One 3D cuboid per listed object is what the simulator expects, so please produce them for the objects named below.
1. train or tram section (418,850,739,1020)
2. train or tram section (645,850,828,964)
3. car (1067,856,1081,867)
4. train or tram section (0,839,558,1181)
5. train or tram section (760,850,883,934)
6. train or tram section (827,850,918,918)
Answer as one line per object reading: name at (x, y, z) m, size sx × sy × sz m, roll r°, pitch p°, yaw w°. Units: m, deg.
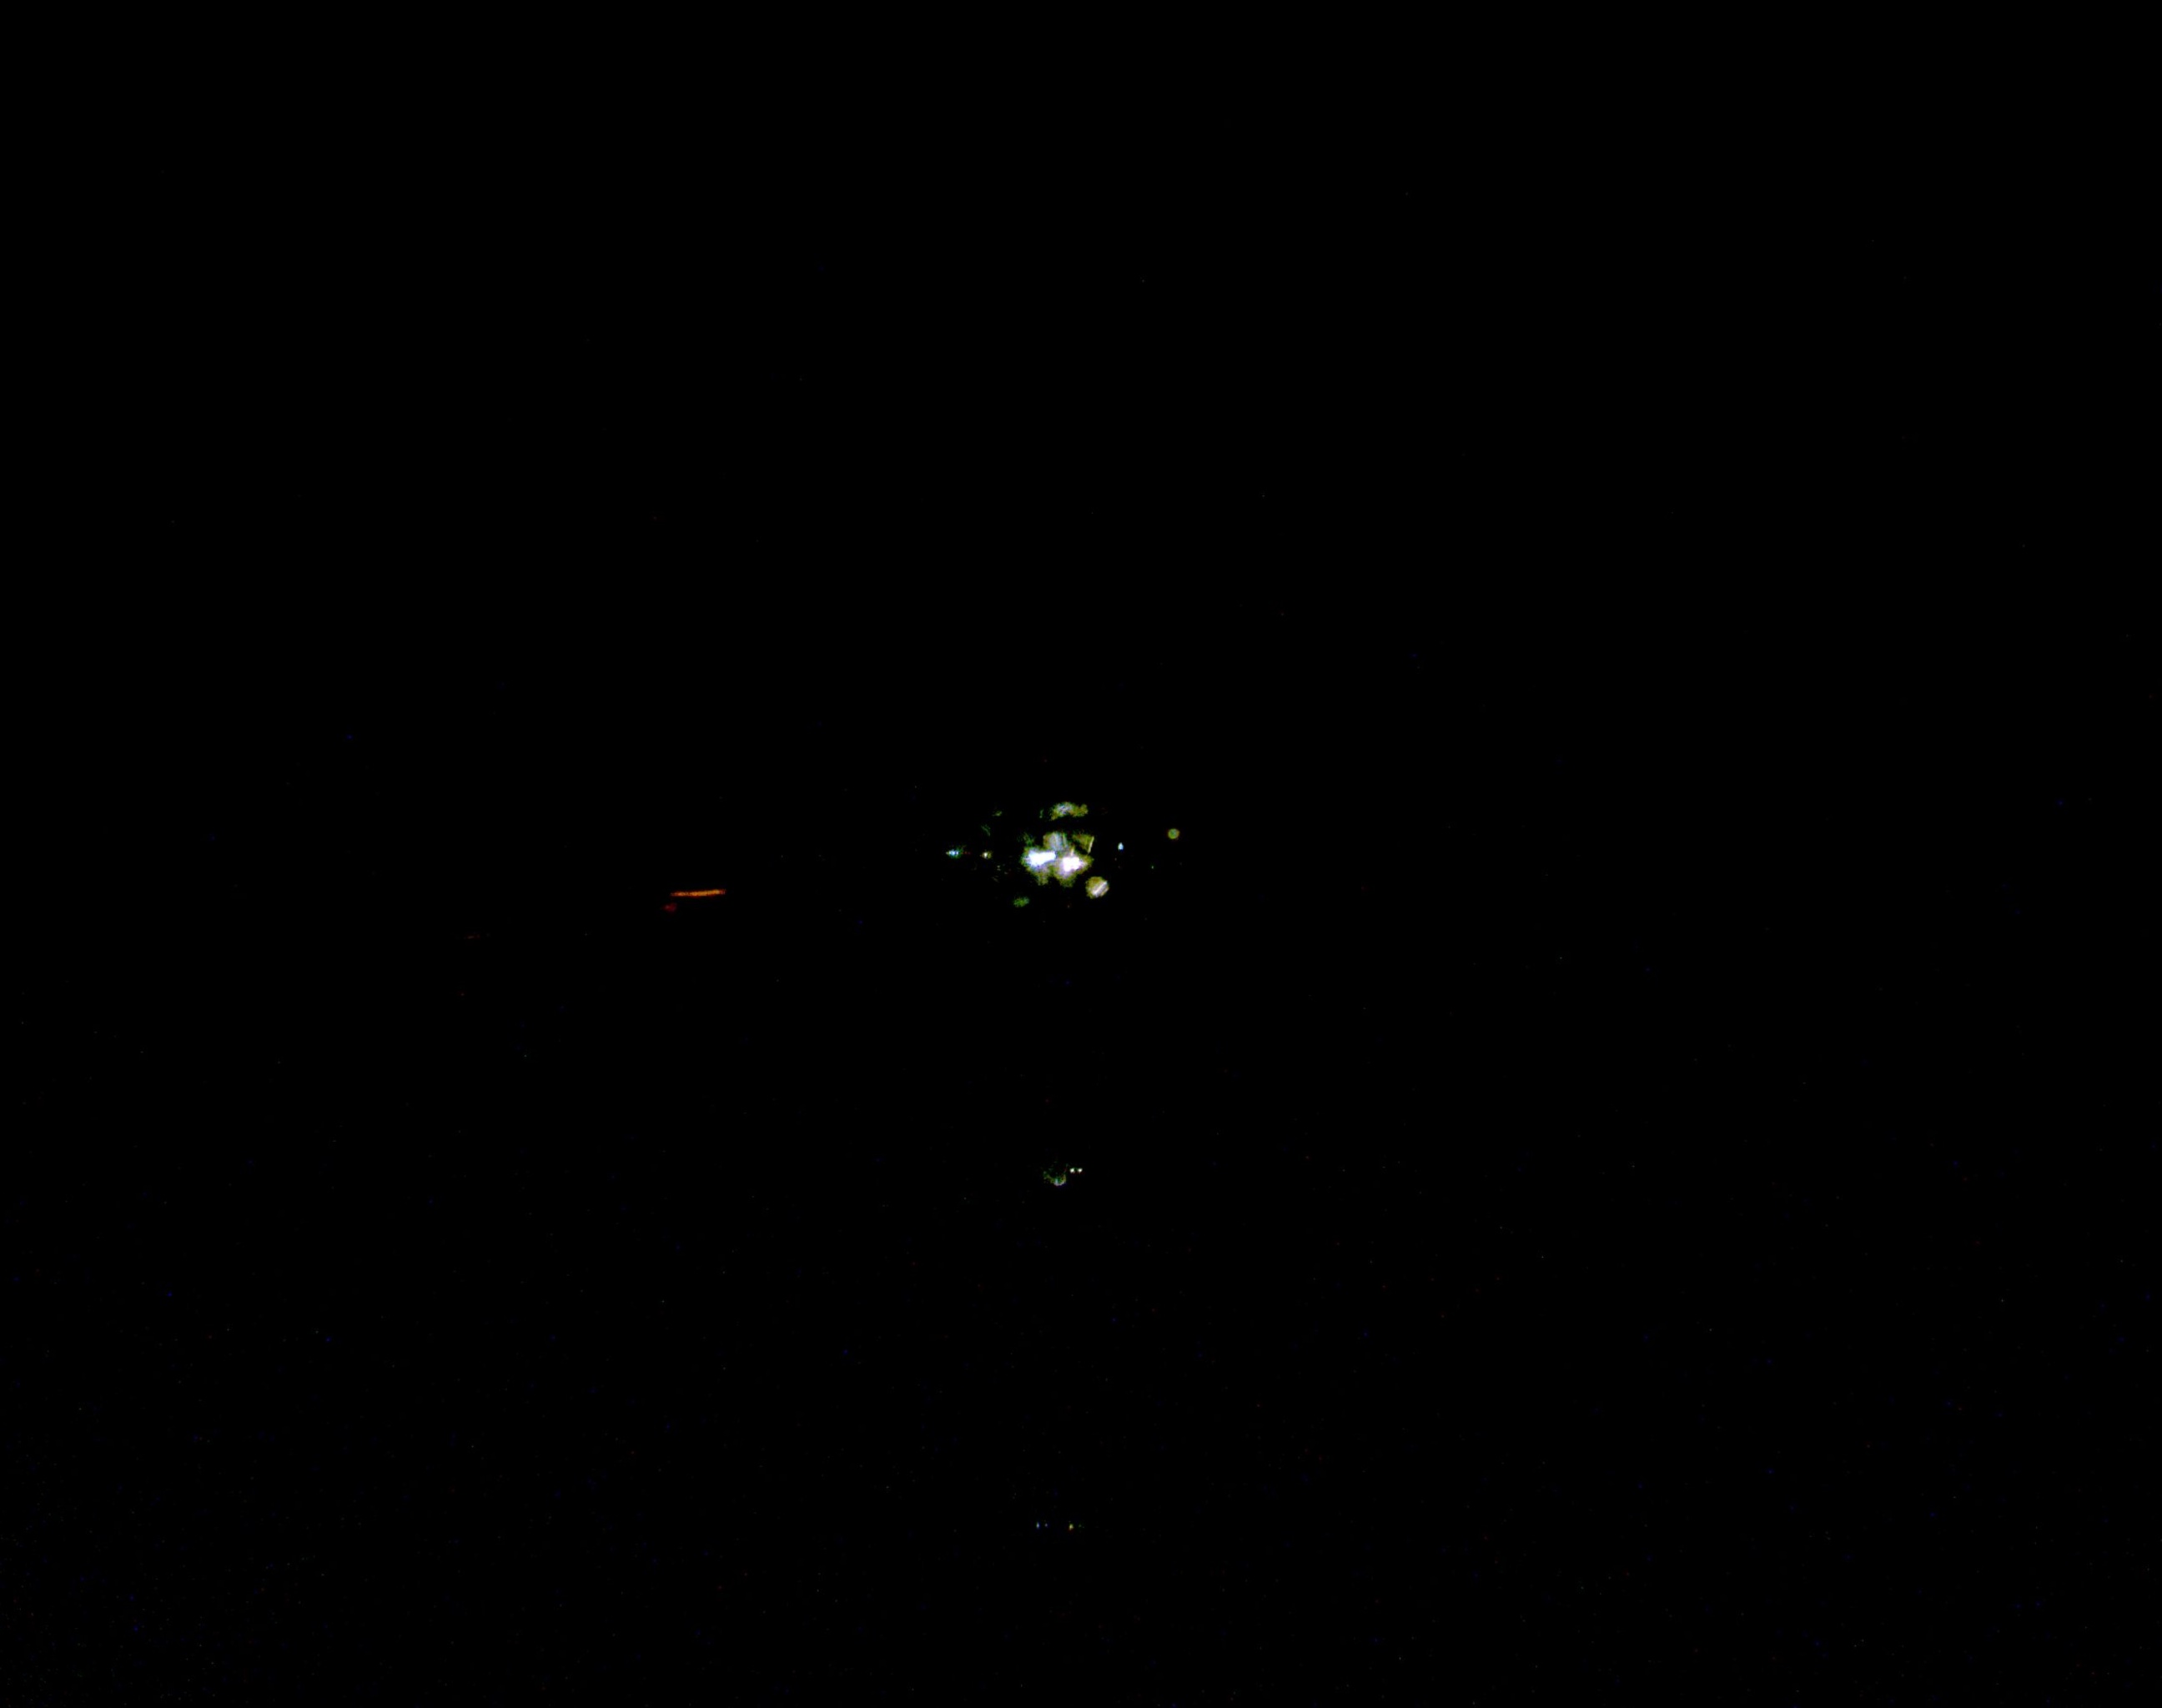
train or tram section at (-12.182, 1.656, 21.109) m, size 2.834 × 3.460 × 8.554 m, roll -1°, pitch 0°, yaw 1°
train or tram section at (-12.060, 1.638, 29.662) m, size 2.834 × 3.460 × 8.554 m, roll -1°, pitch 0°, yaw 1°
car at (-1.004, 1.041, 116.207) m, size 1.987 × 1.457 × 4.097 m, roll -3°, pitch 0°, yaw 0°
train or tram section at (-12.315, 1.593, 12.504) m, size 2.834 × 3.460 × 8.554 m, roll -1°, pitch 0°, yaw 1°
train or tram section at (-11.865, 1.571, 38.222) m, size 2.834 × 3.460 × 8.554 m, roll -1°, pitch 0°, yaw 1°
train or tram section at (-11.731, 1.548, 46.793) m, size 2.834 × 3.460 × 8.554 m, roll -1°, pitch 0°, yaw 1°
